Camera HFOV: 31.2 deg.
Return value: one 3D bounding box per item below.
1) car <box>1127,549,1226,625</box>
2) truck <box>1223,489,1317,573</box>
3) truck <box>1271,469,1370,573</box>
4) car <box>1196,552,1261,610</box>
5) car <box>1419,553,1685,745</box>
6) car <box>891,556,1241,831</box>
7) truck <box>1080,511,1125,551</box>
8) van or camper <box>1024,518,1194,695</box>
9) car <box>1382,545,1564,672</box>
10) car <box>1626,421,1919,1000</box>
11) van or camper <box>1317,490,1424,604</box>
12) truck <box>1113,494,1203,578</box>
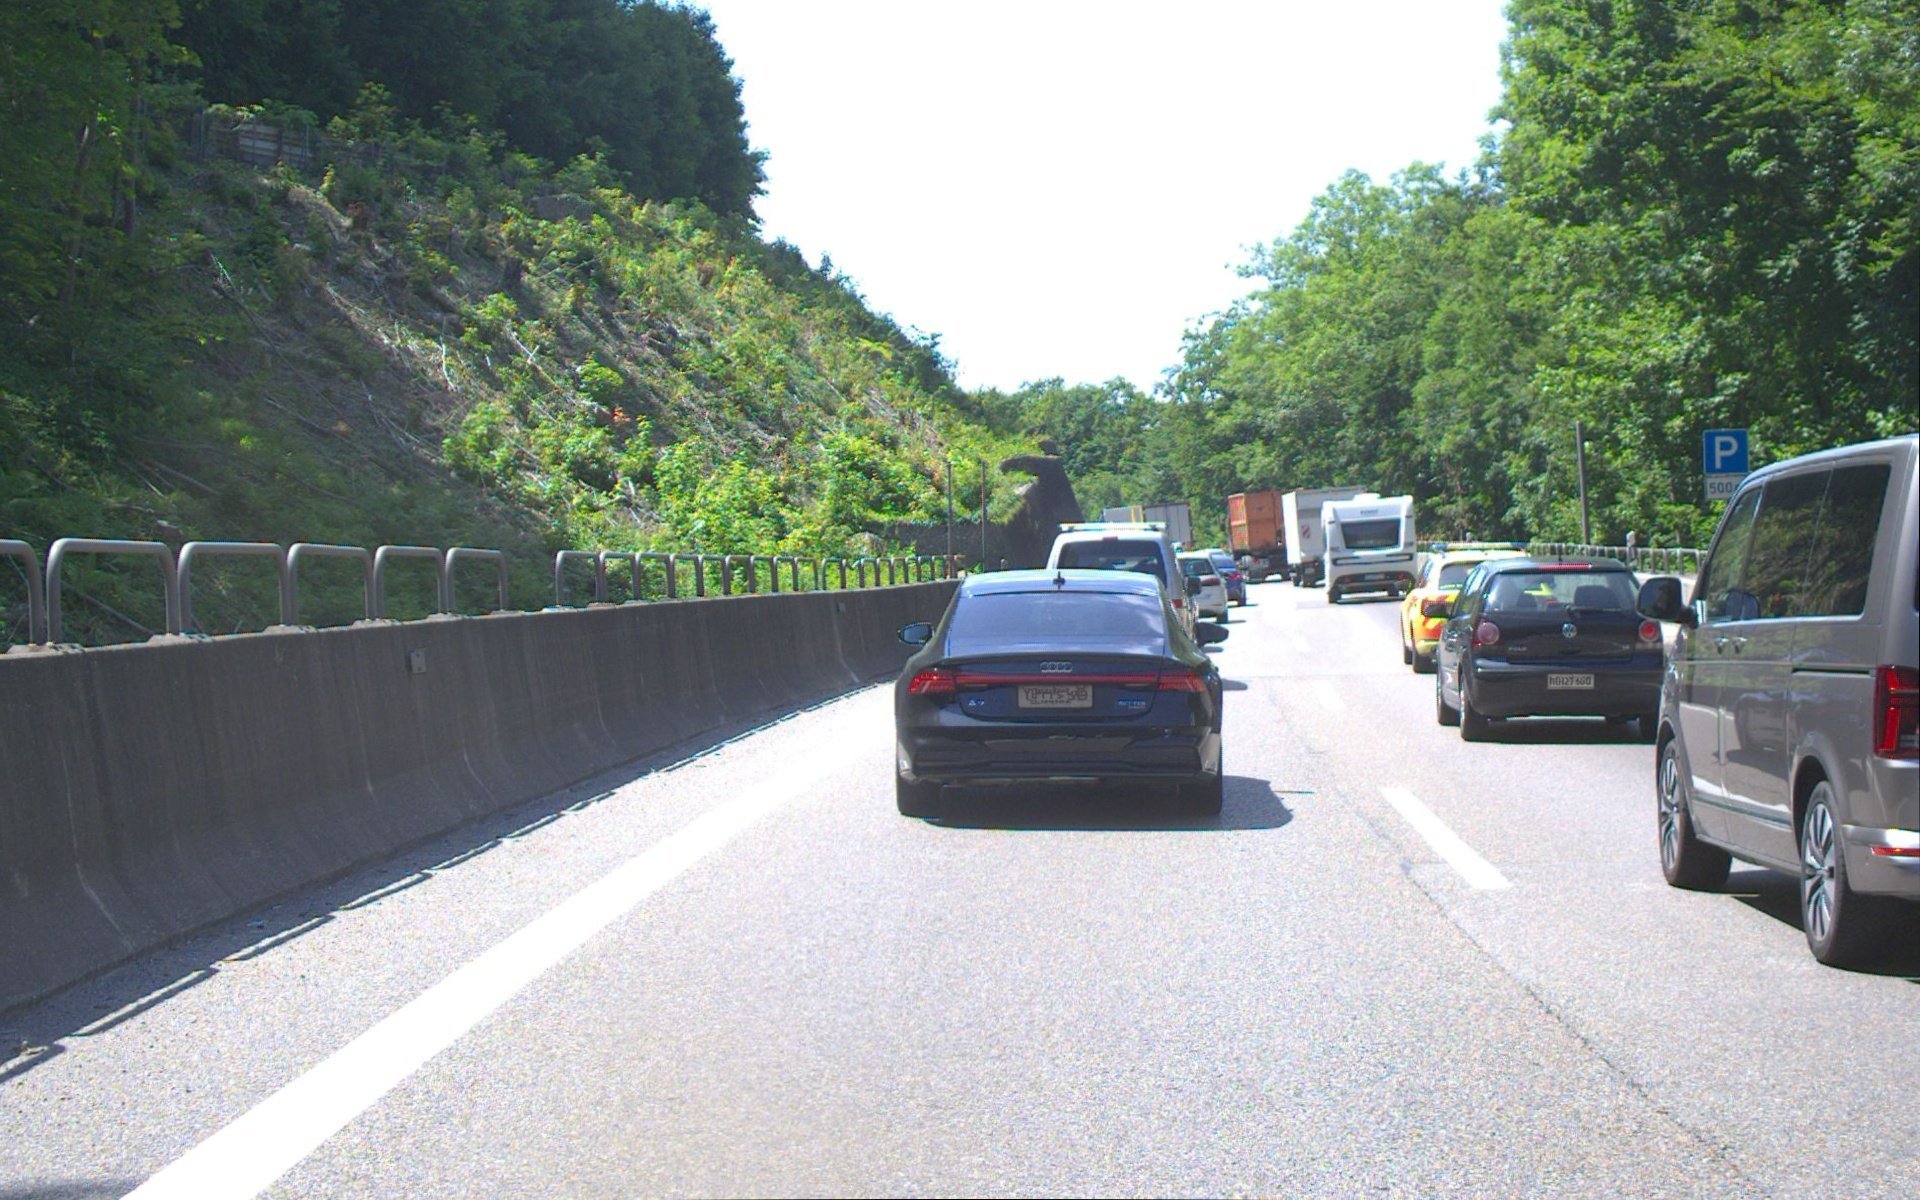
[{"bbox_3d":[4.590,-0.292,73.395,1.895,1.579,3.771,0,1,0],"label":"car"},{"bbox_3d":[13.162,-2.917,146.577,3.163,3.456,8.222,0,1,-1],"label":"truck"},{"bbox_3d":[13.088,-2.842,125.389,2.925,3.674,7.724,0,1,1],"label":"truck"},{"bbox_3d":[7.461,-0.532,95.669,1.751,1.565,3.770,0,1,4],"label":"car"},{"bbox_3d":[4.808,0.350,28.373,1.685,1.453,4.000,0,1,3],"label":"car"},{"bbox_3d":[0.541,0.483,20.956,1.905,1.484,4.379,0,1,-1],"label":"car"},{"bbox_3d":[7.263,-3.497,175.372,1.993,2.007,4.001,0,1,-2],"label":"truck"},{"bbox_3d":[1.750,0.041,39.881,1.853,1.935,4.165,0,1,3],"label":"van or camper"},{"bbox_3d":[6.244,0.069,42.223,1.808,1.473,4.081,0,1,3],"label":"car"},{"bbox_3d":[4.024,0.328,13.746,1.940,1.924,4.694,0,1,2],"label":"car"},{"bbox_3d":[10.628,-1.366,89.393,2.604,2.845,6.334,0,1,5],"label":"van or camper"},{"bbox_3d":[10.674,-3.448,186.189,3.709,4.488,7.726,0,1,-6],"label":"truck"}]
